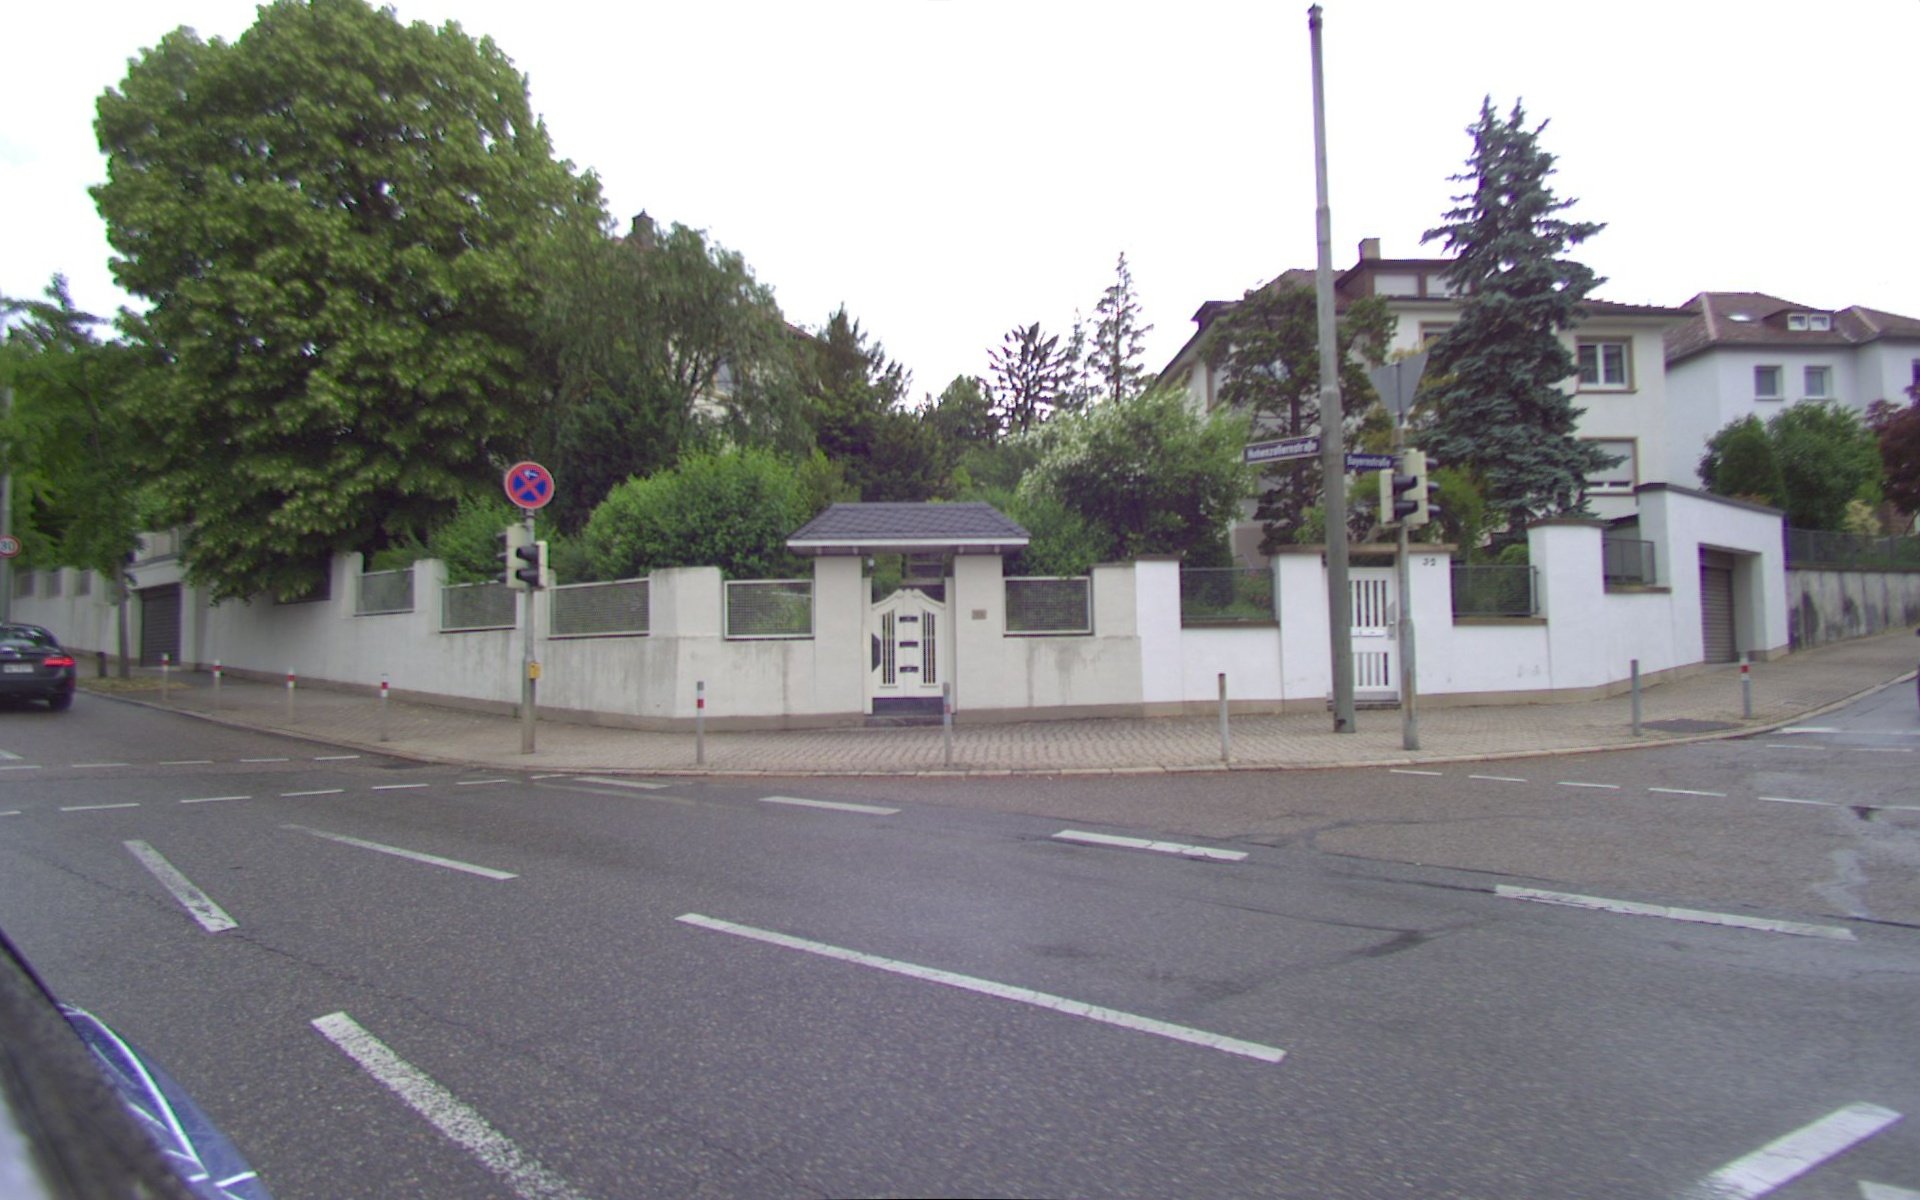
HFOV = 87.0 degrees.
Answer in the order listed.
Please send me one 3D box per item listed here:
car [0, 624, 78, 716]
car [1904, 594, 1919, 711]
[{"bbox_3d":[-17.832,1.191,18.229,5.358,1.497,1.835,-1,-3,37],"label":"car"},{"bbox_3d":[13.741,0.539,12.557,3.308,1.449,1.676,-2,-3,-23],"label":"car"}]
